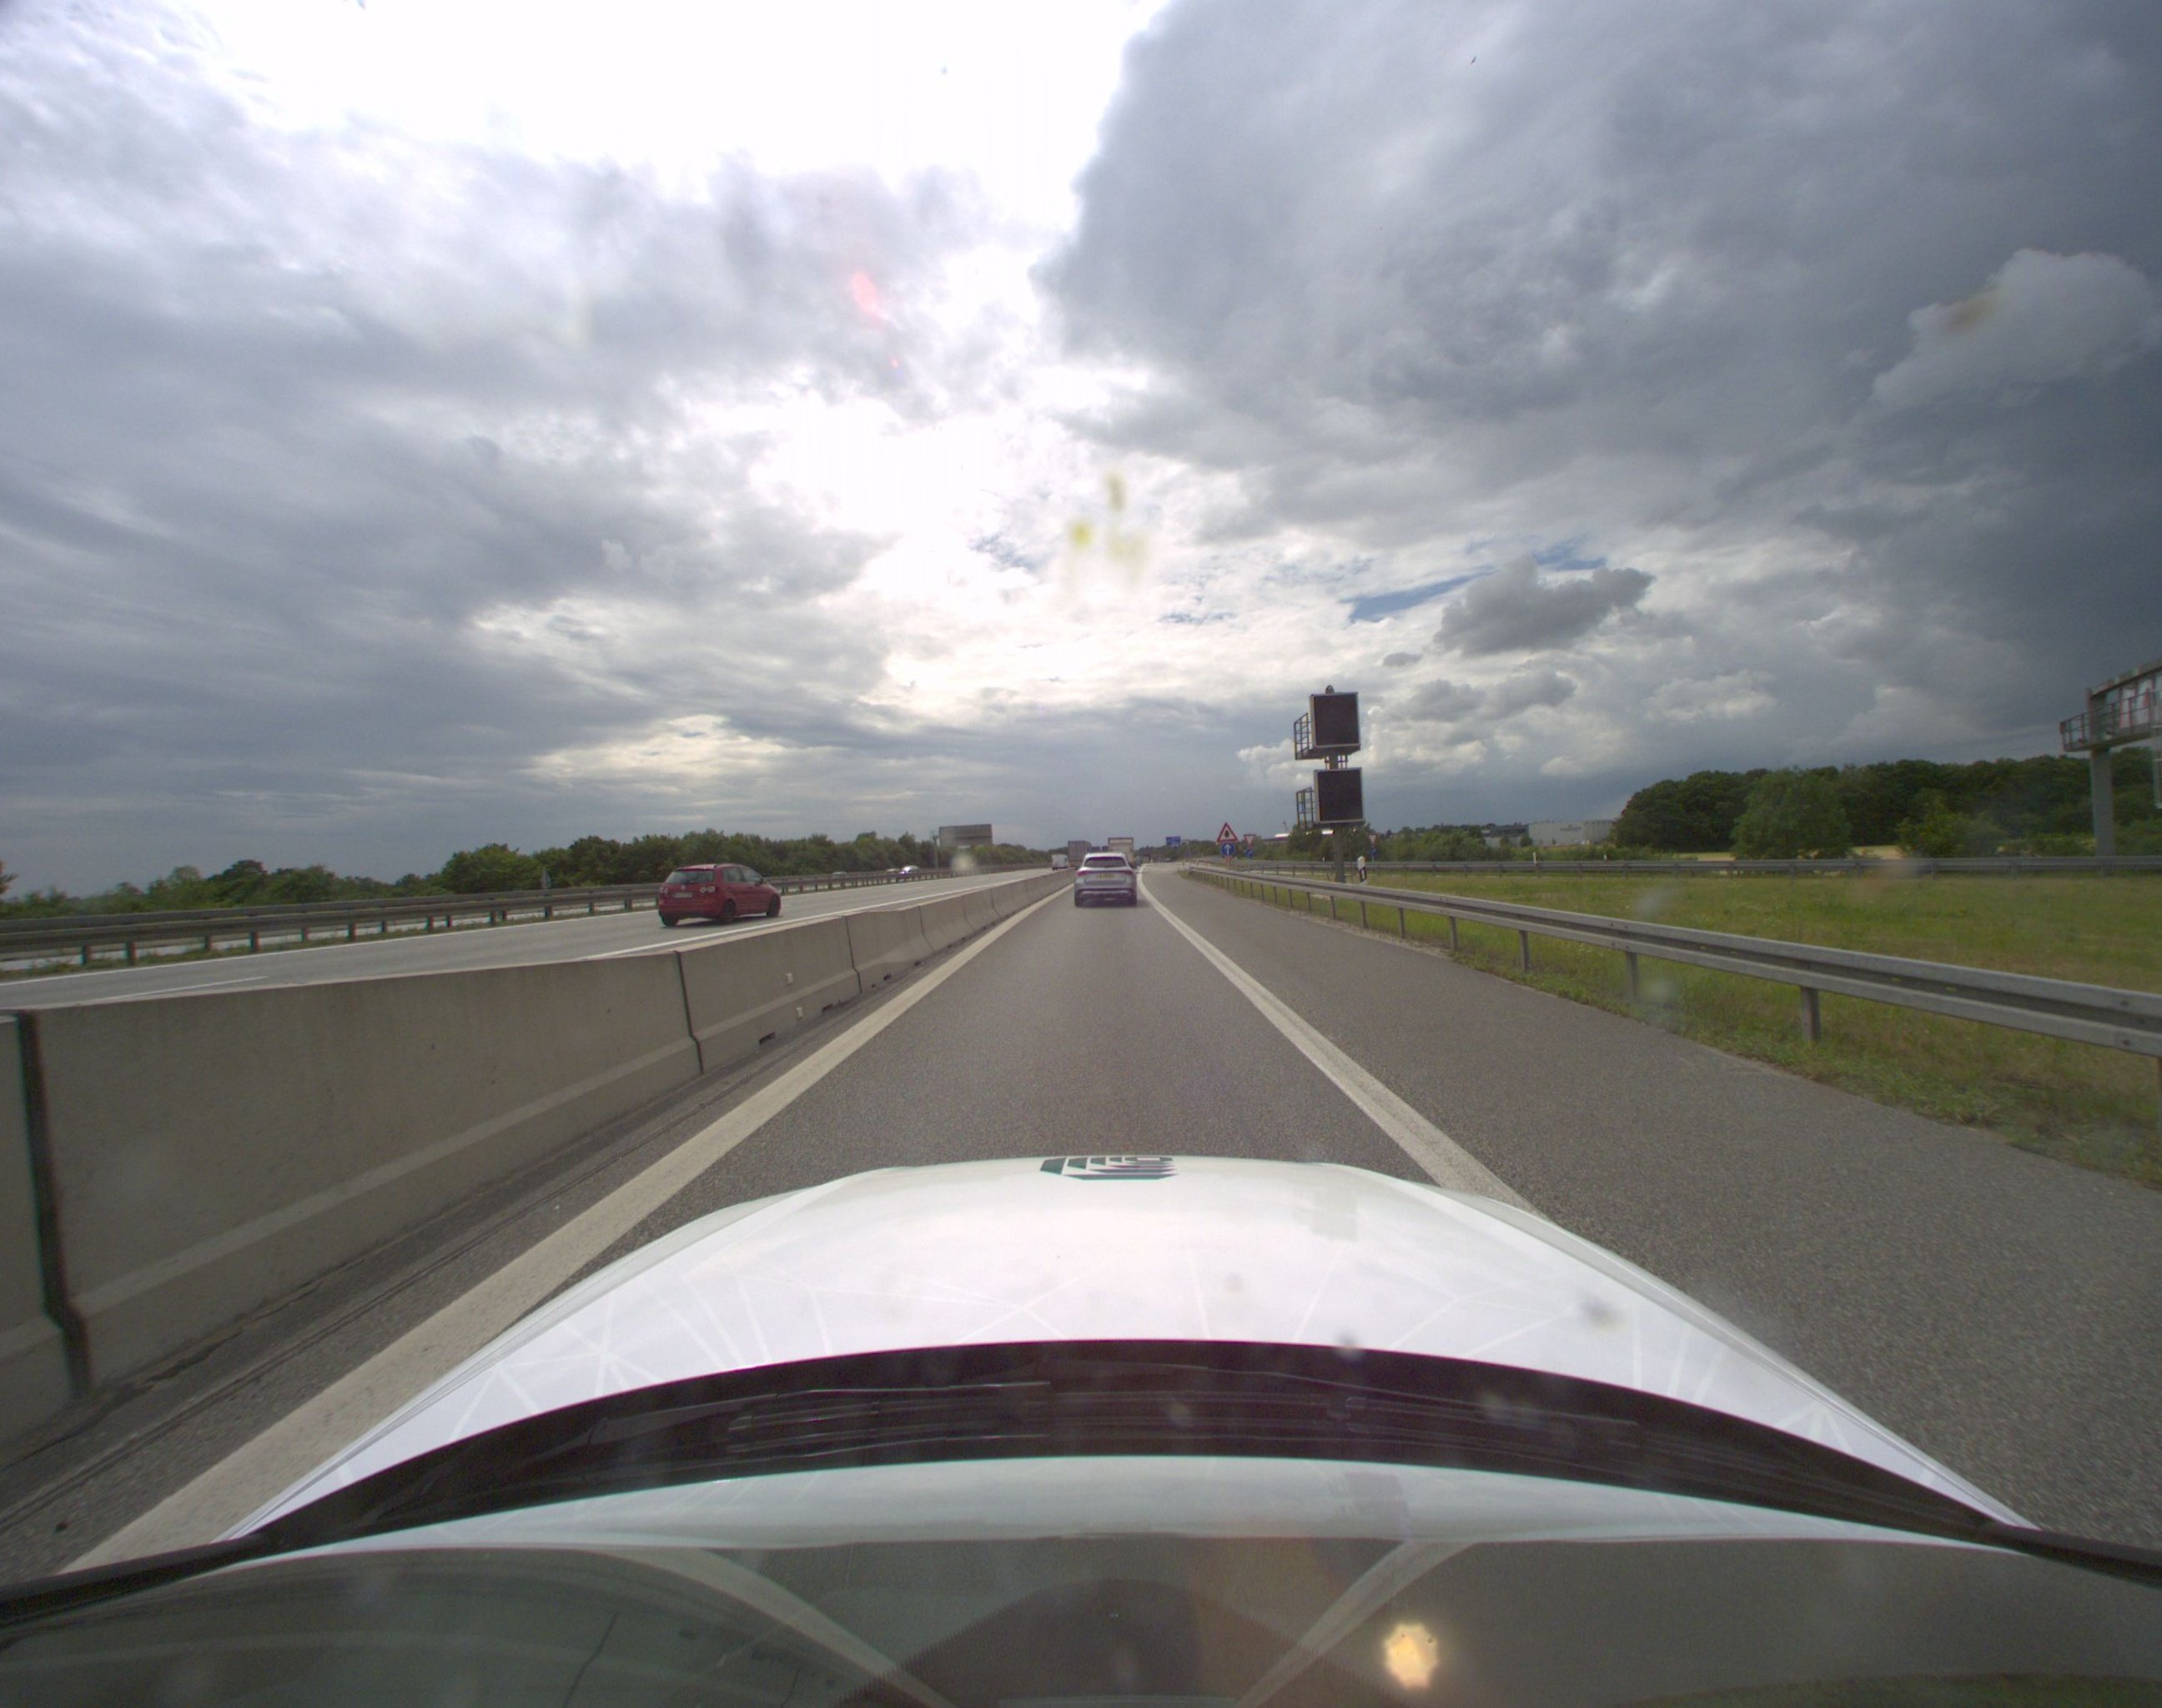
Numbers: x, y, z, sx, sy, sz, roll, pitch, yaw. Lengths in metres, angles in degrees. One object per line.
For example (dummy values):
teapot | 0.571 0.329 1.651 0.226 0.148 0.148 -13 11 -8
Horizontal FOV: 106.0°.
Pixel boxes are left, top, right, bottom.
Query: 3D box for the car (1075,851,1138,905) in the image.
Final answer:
car | 0.853 0.691 25.739 1.812 1.514 4.004 -1 1 3

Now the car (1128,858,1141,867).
car | 8.170 1.308 124.232 1.687 1.288 4.007 -1 0 6

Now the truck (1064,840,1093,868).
truck | -0.221 -0.174 125.659 3.169 4.018 16.096 -1 1 4

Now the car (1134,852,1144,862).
car | 11.534 0.599 161.972 1.984 2.013 4.381 -1 1 5

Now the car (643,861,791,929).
car | -9.817 1.035 22.395 1.811 1.545 4.360 -1 1 4

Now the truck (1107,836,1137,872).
truck | 3.863 0.017 75.032 2.558 3.126 8.642 -1 -1 4

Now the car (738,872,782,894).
car | -27.227 2.449 69.186 1.820 1.706 4.007 -1 0 6

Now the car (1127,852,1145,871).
car | 6.478 0.859 95.456 1.984 2.013 4.006 -1 1 5

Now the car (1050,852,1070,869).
car | -2.683 0.845 103.801 1.984 2.013 4.381 -1 1 5
